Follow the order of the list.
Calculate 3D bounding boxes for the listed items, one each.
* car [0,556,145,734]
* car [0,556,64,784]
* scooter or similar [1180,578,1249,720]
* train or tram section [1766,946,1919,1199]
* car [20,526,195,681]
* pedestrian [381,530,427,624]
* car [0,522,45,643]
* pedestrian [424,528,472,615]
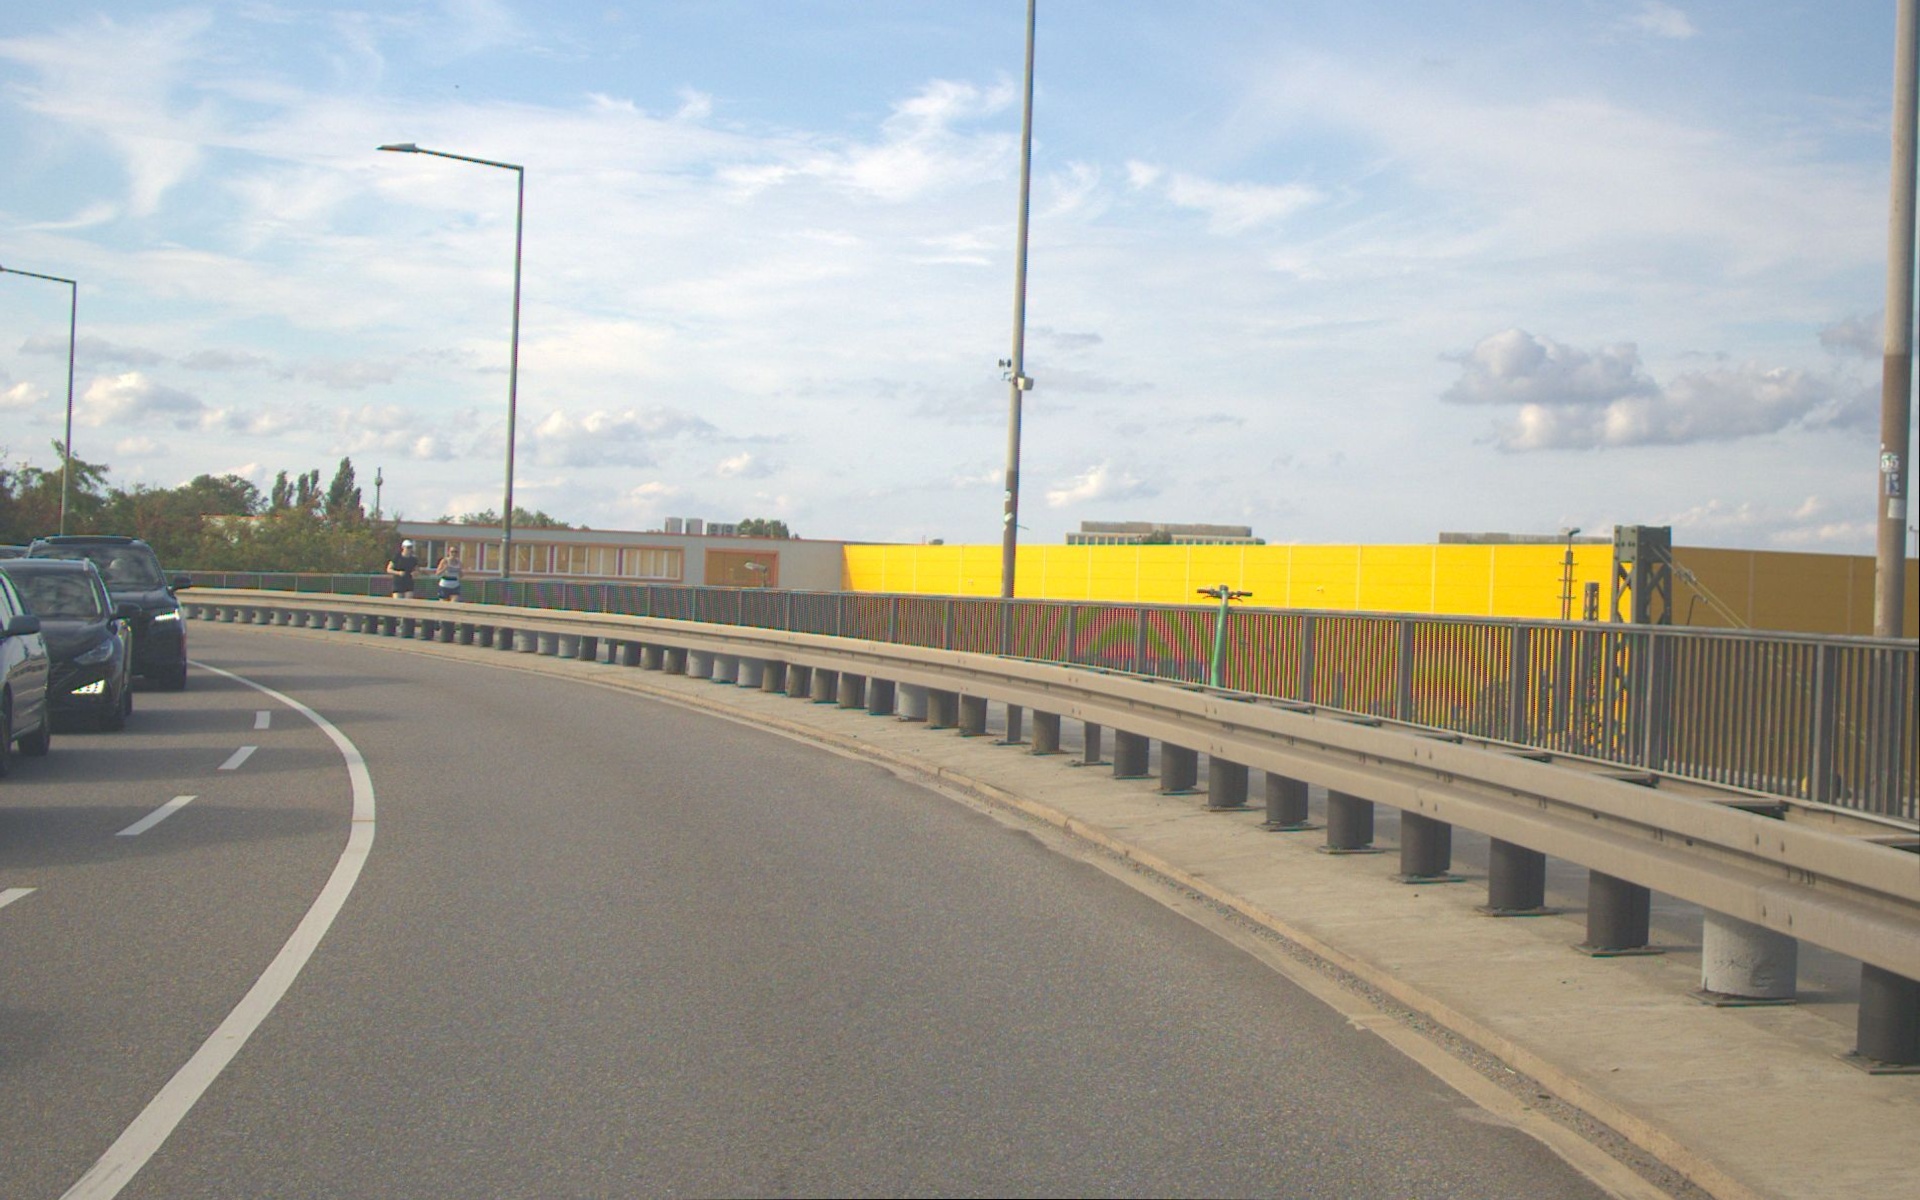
[{"bbox_3d":[-8.296,0.347,30.986,1.759,1.484,4.447,0,1,-12],"label":"car"},{"bbox_3d":[-7.386,0.432,24.474,1.759,1.484,4.392,0,1,-12],"label":"car"},{"bbox_3d":[2.113,0.396,28.639,0.265,1.158,1.189,0,0,-11],"label":"scooter or similar"},{"bbox_3d":[22.941,8.892,65.690,16.692,4.696,3.097,0,0,-28],"label":"train or tram section"},{"bbox_3d":[-9.768,-0.002,39.523,1.829,1.666,4.868,0,1,-13],"label":"car"},{"bbox_3d":[-9.890,-0.402,61.151,0.676,1.656,0.865,0,0,-19],"label":"pedestrian"},{"bbox_3d":[-16.274,-0.308,56.402,2.007,1.897,4.869,0,1,-20],"label":"car"},{"bbox_3d":[-9.162,-0.505,61.497,0.676,1.538,0.961,0,0,-19],"label":"pedestrian"}]
